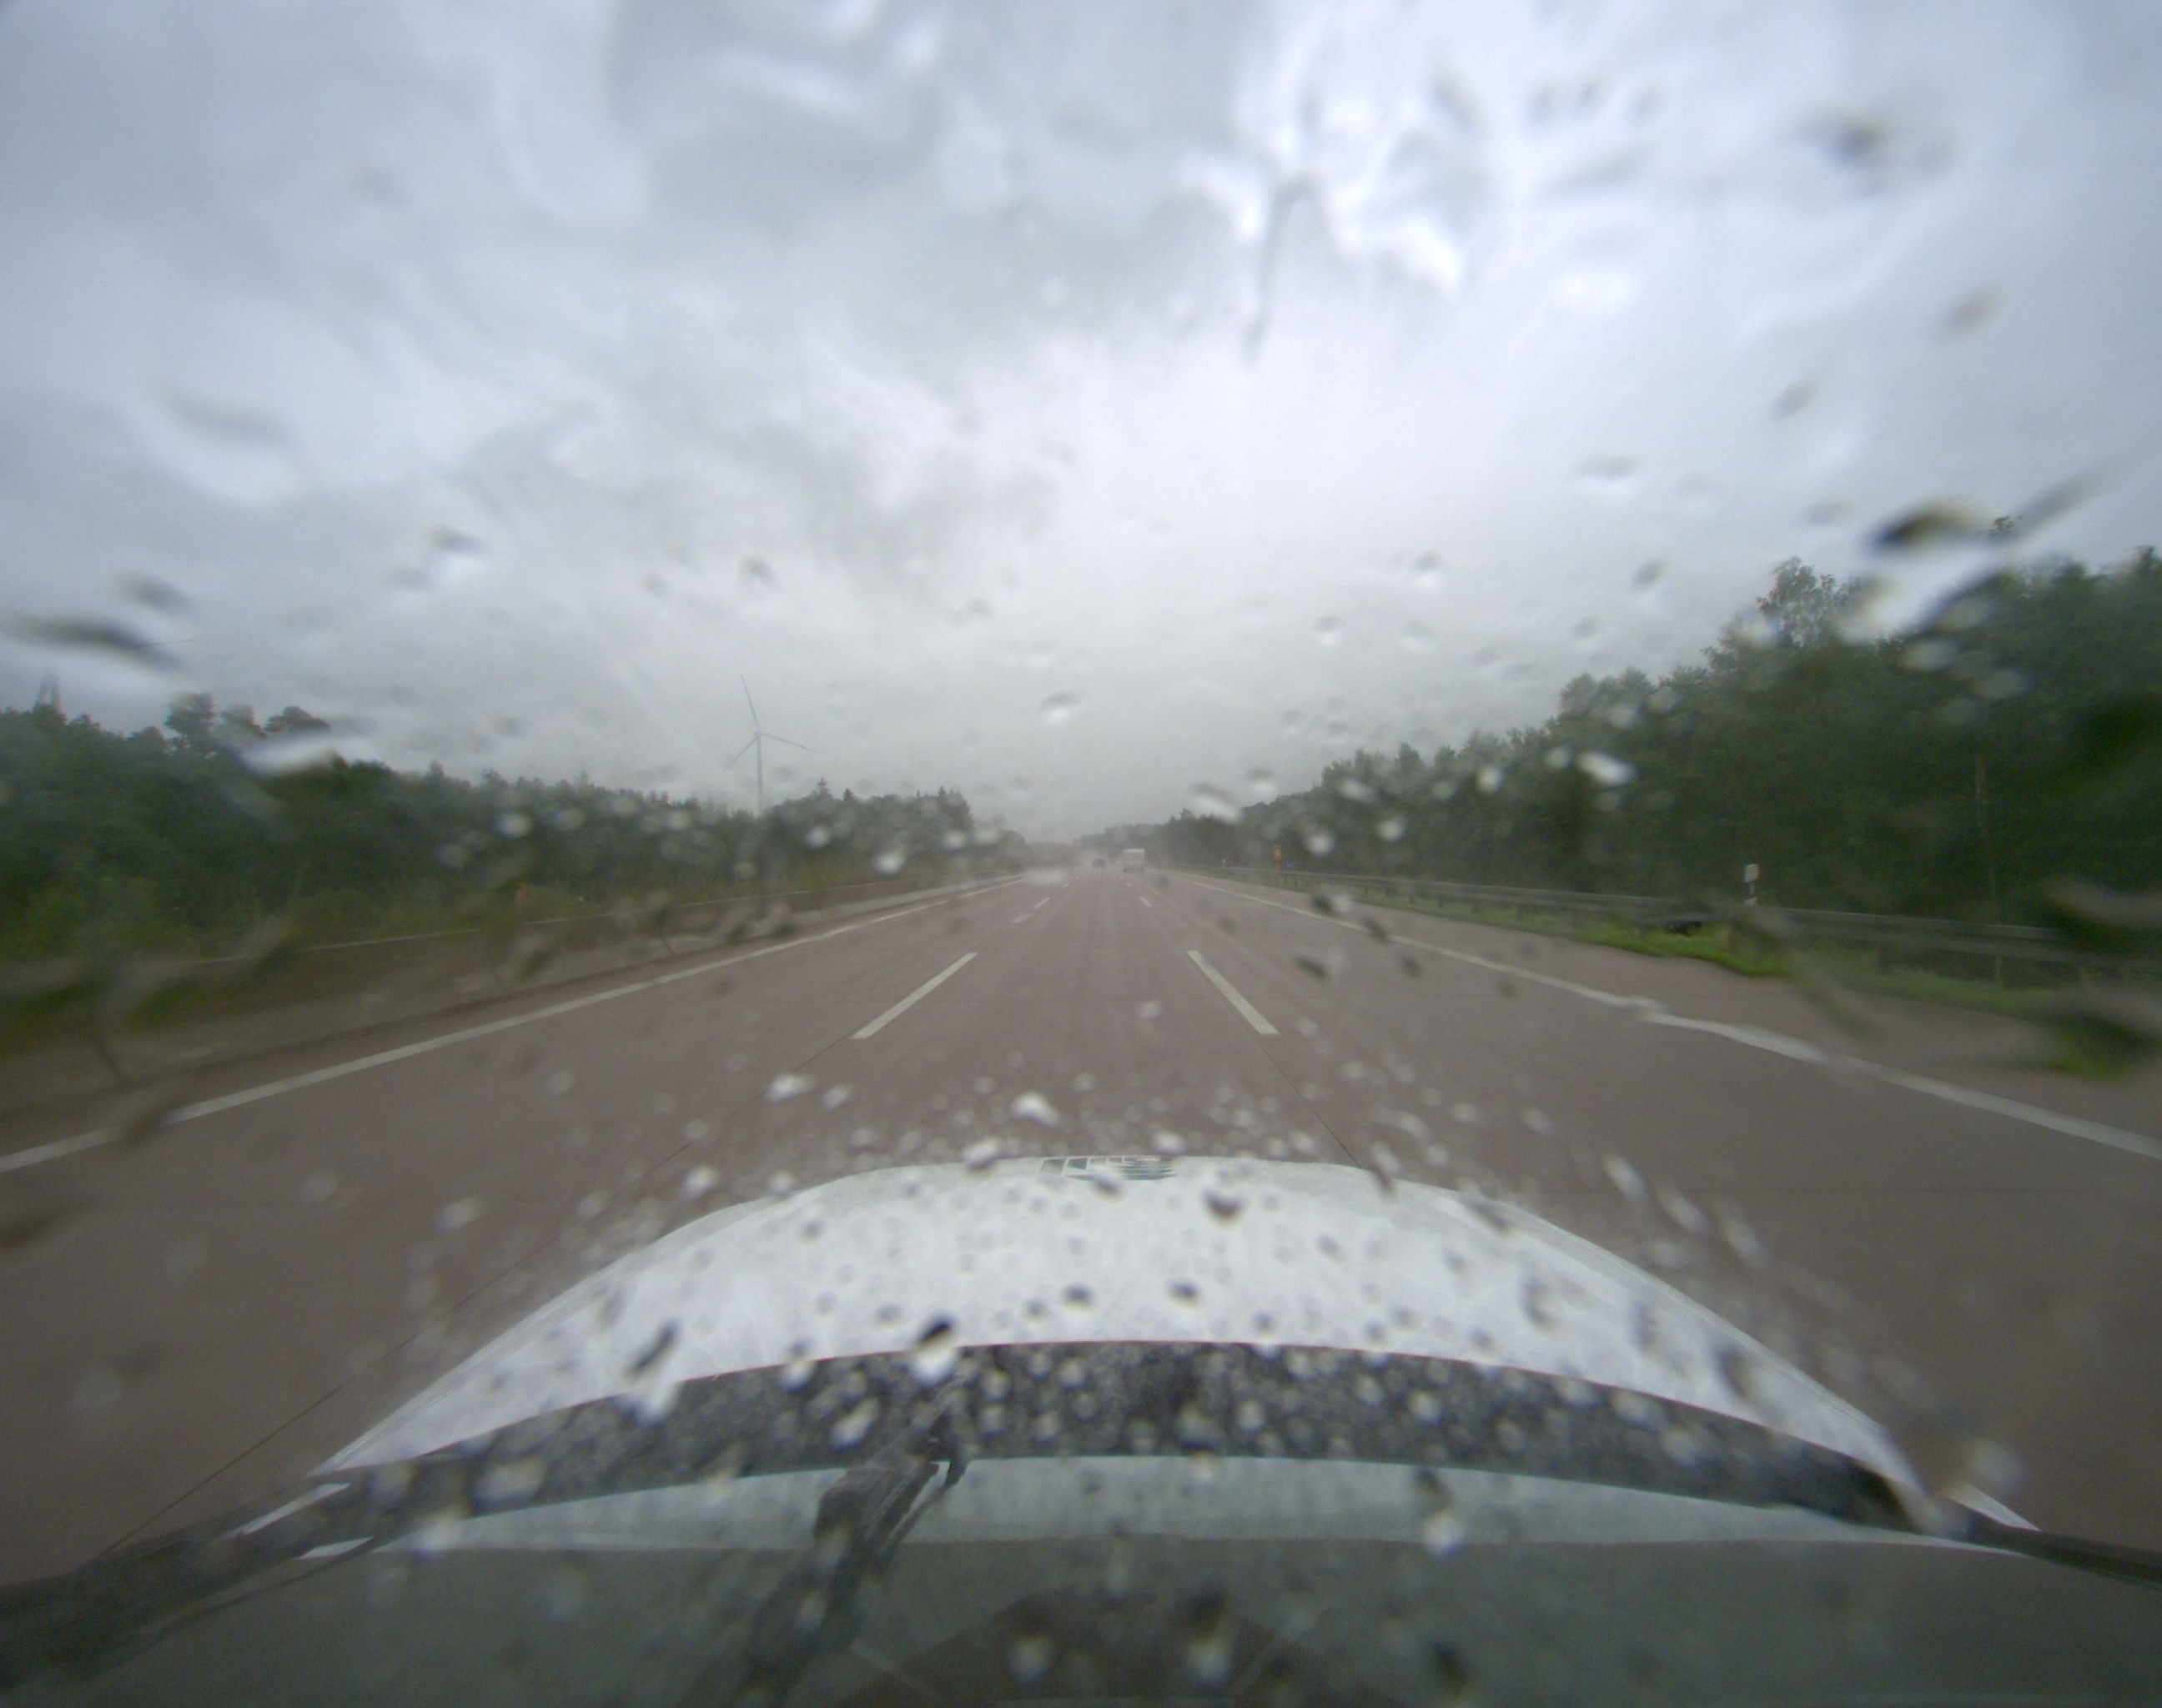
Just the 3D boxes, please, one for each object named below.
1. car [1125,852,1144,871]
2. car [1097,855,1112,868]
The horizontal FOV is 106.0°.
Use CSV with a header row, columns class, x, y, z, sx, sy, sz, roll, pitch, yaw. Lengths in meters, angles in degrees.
class,x,y,z,sx,sy,sz,roll,pitch,yaw
car,5.909,0.832,90.206,2.050,2.000,4.101,1,0,3
car,3.291,0.998,113.799,1.929,1.729,4.133,-2,0,3
